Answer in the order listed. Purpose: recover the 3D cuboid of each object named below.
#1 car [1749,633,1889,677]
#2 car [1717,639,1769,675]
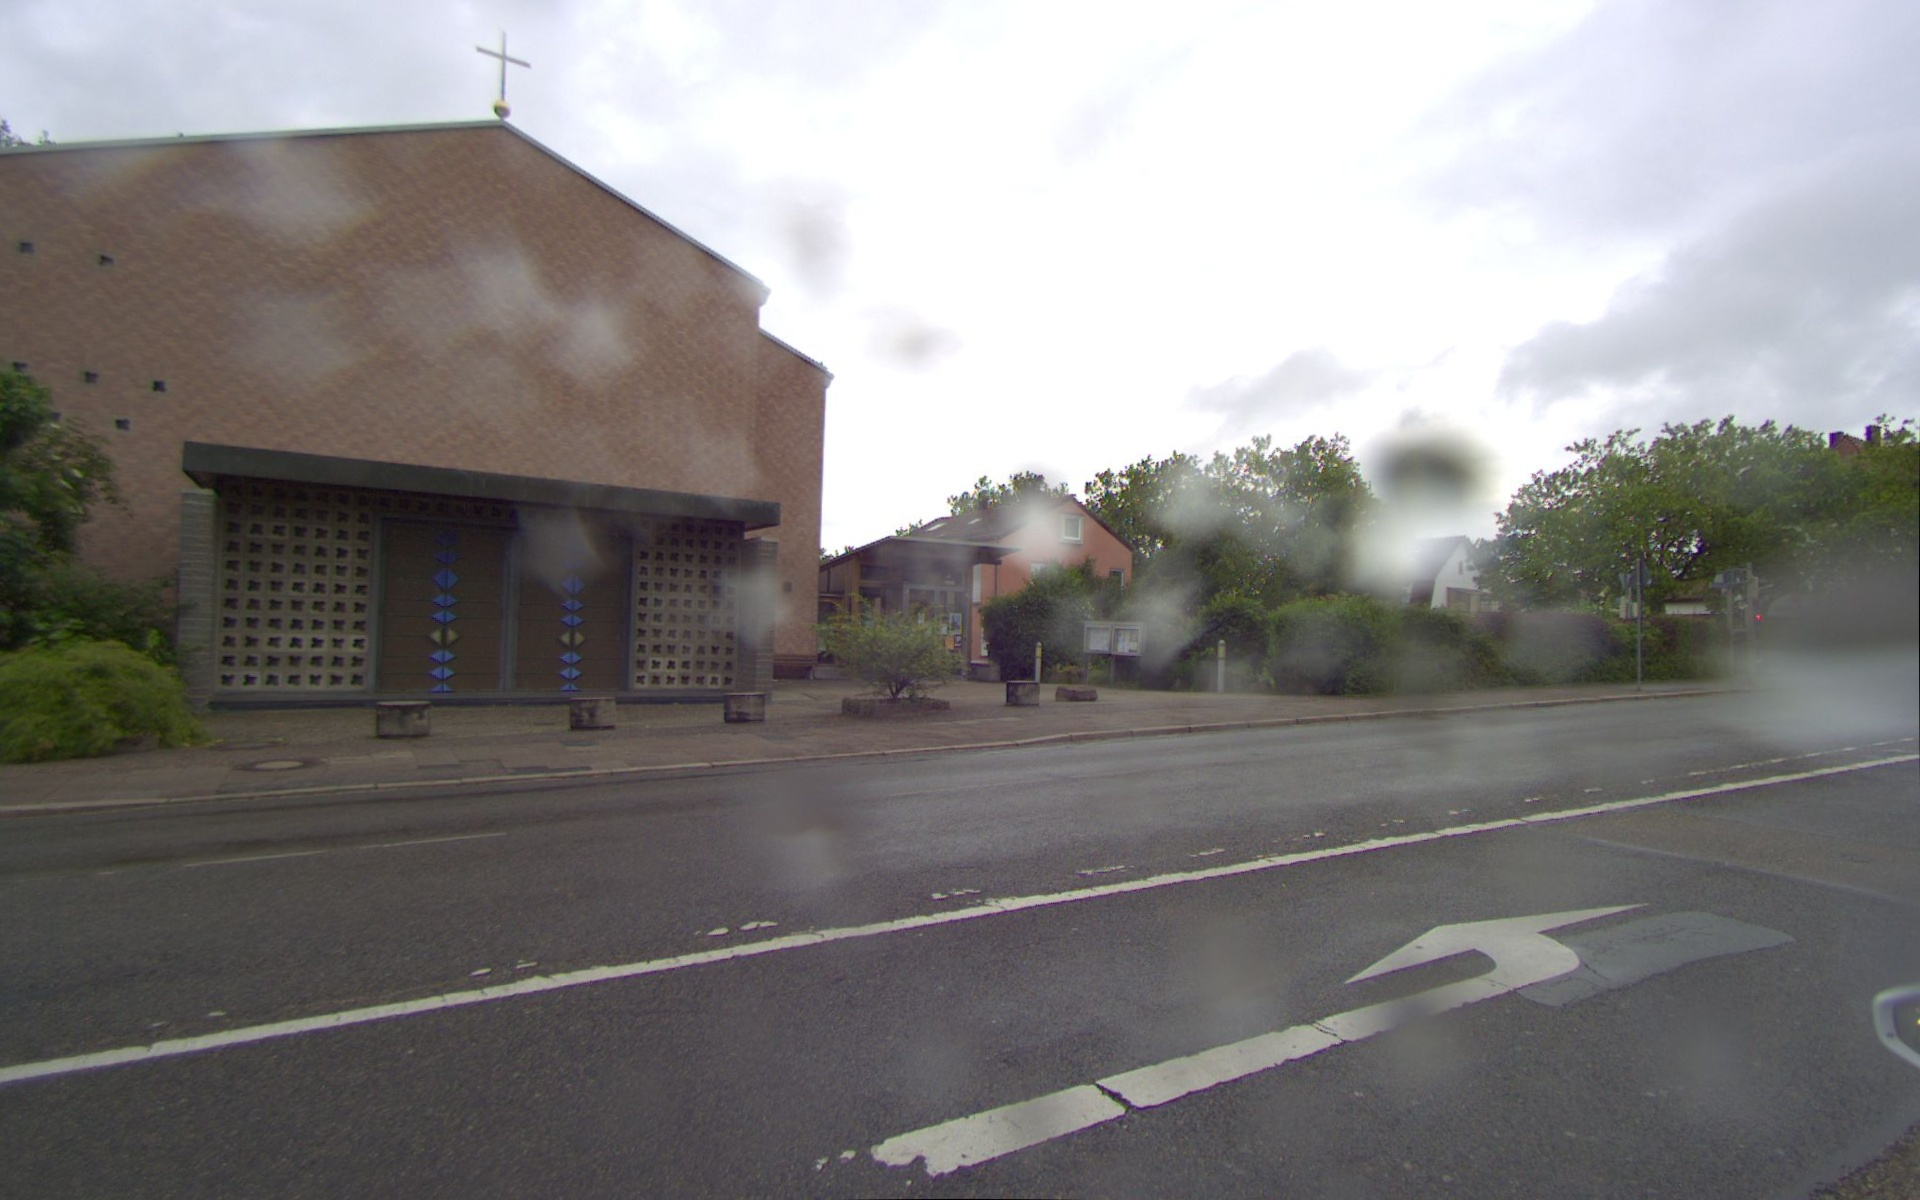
[{"bbox_3d":[36.563,2.304,42.858,4.418,1.608,2.060,1,0,42],"label":"car"},{"bbox_3d":[38.587,2.763,49.505,1.969,1.572,3.983,0,-1,38],"label":"car"}]
